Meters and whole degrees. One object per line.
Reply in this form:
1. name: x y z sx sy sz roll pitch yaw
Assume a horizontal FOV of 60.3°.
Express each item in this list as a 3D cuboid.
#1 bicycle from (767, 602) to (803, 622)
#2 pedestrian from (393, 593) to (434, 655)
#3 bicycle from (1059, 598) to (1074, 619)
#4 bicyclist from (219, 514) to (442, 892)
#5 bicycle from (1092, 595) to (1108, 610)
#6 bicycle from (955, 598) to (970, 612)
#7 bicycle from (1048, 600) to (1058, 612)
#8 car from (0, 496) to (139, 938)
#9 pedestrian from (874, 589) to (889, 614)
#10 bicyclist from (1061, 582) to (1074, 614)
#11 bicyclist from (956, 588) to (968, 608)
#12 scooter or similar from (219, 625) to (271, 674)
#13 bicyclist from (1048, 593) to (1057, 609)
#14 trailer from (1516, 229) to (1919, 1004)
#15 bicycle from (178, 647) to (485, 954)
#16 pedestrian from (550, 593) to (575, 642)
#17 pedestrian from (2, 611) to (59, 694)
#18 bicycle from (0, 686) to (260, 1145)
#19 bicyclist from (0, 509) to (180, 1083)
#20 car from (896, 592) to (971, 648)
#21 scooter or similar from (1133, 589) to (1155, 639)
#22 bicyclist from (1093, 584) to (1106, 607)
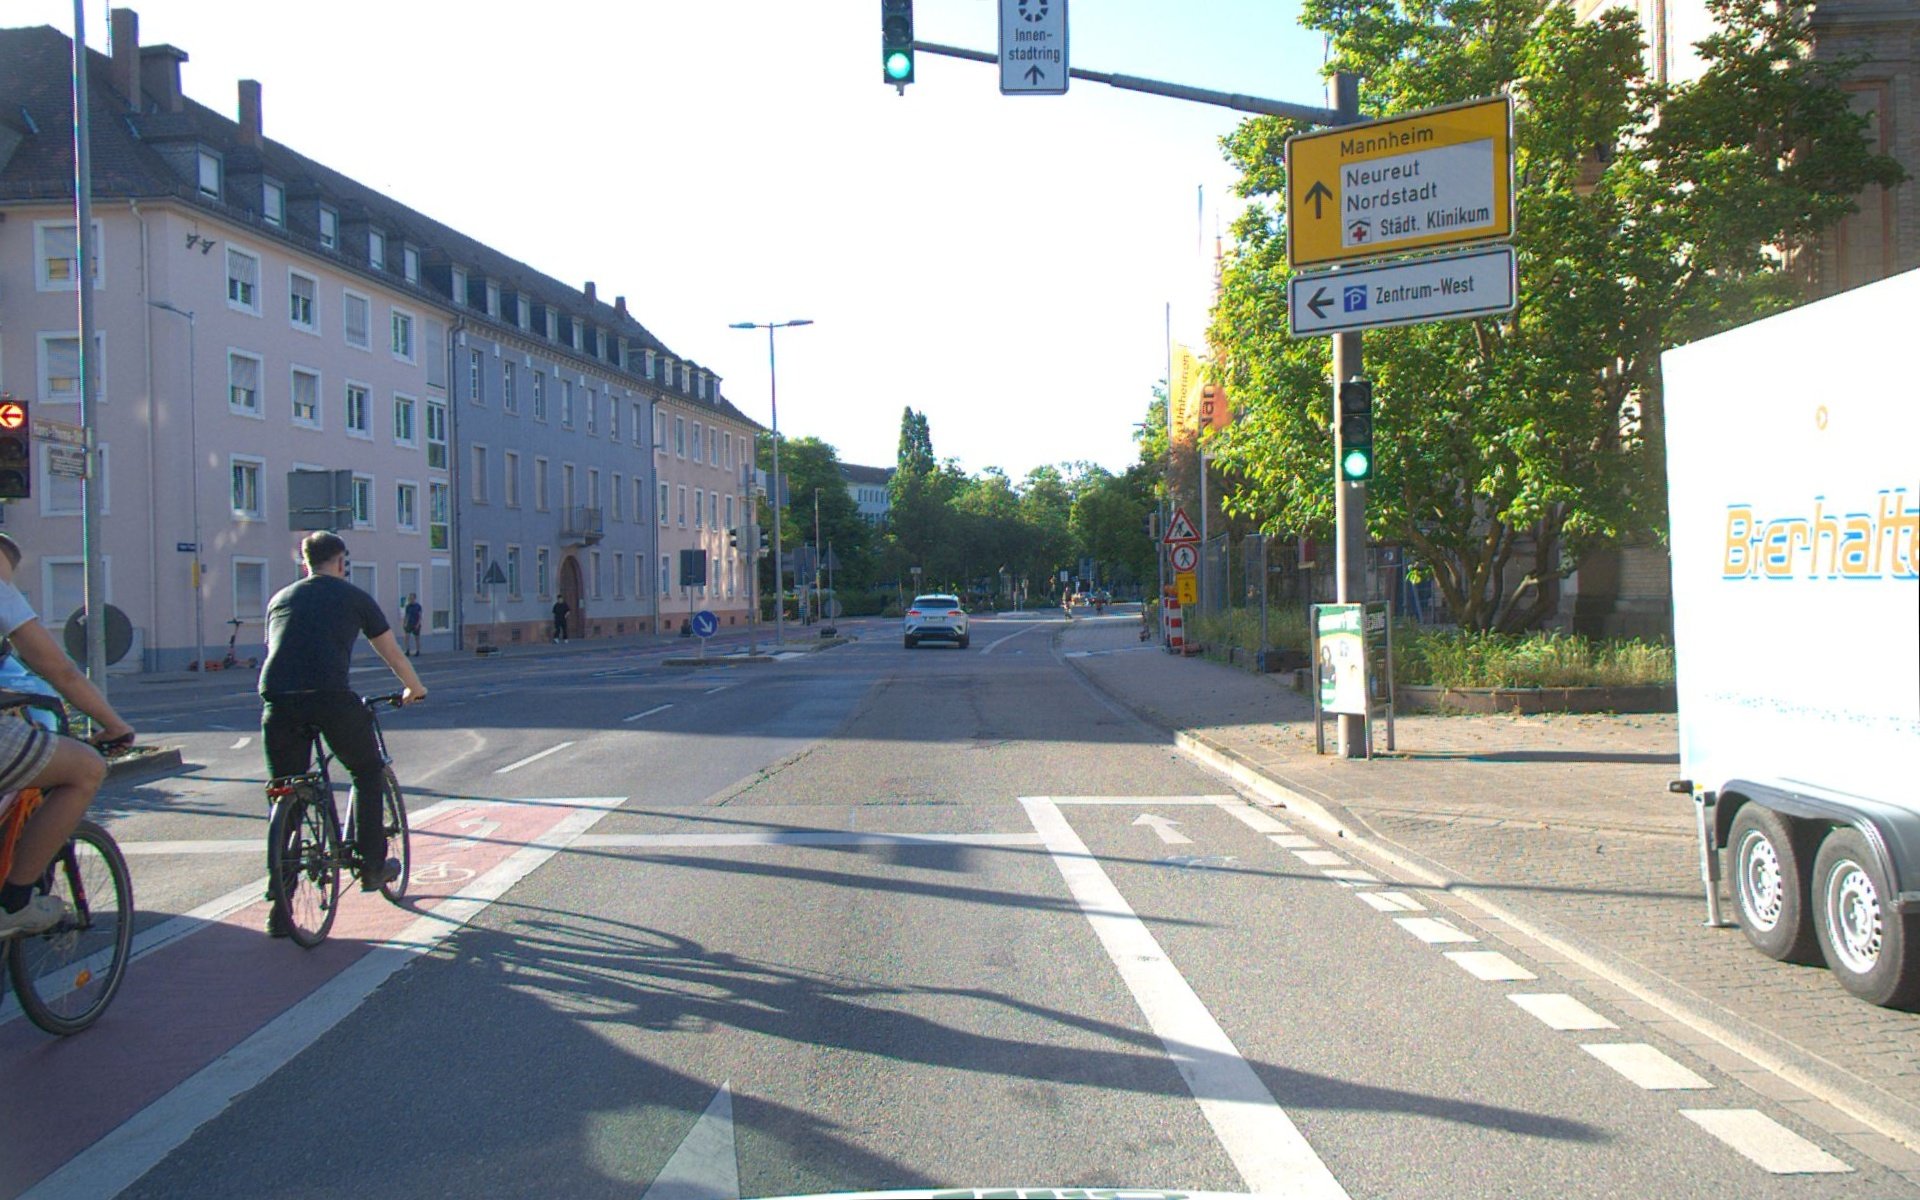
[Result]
1. bicycle: -11.692 0.821 110.581 2.270 1.251 0.561 -2 0 13
2. pedestrian: -17.070 0.730 51.693 0.849 1.896 1.016 1 1 7
3. bicycle: 5.597 0.447 86.736 0.629 1.042 2.214 0 0 8
4. bicyclist: -2.891 0.449 7.671 0.656 1.636 0.825 -2 0 0
5. bicycle: 9.469 0.161 111.841 0.737 1.044 1.871 -1 0 14
6. bicycle: 0.189 0.362 129.800 0.721 1.013 2.111 -3 1 10
7. bicycle: 9.376 0.590 166.813 0.584 1.140 2.029 -5 0 11
8. car: -5.199 0.541 6.037 2.027 1.949 5.030 -2 0 -3
9. pedestrian: -6.051 0.147 127.374 0.837 1.883 1.002 -2 0 12
10. bicyclist: 5.632 -0.101 86.755 0.622 1.642 1.285 -1 0 7
11. bicyclist: 0.176 -0.174 129.812 0.722 1.511 0.665 -3 0 11
12. scooter or similar: -18.335 1.256 42.430 0.522 1.206 1.475 -1 1 7
13. bicyclist: 9.338 0.133 166.915 0.616 1.549 0.725 -5 0 11
14. trailer: 4.177 0.006 6.882 2.037 2.572 4.491 -4 0 -1
15. bicycle: -2.865 0.850 7.794 0.629 1.175 2.077 -1 0 0
16. pedestrian: -15.611 0.678 64.961 0.618 1.878 1.014 1 0 6
17. pedestrian: -18.605 1.039 33.111 0.618 1.611 0.819 1 0 6
18. bicycle: -3.040 0.915 5.201 0.811 1.163 1.970 -1 0 0
19. bicyclist: -3.042 0.571 5.138 0.786 1.636 0.825 -2 0 0
20. car: -0.729 0.563 48.113 1.952 1.478 4.001 -2 0 1
21. scooter or similar: 5.095 0.384 45.918 0.543 1.331 1.833 -2 0 5
22. bicyclist: 9.422 -0.294 111.718 0.731 1.564 0.970 -1 0 14
